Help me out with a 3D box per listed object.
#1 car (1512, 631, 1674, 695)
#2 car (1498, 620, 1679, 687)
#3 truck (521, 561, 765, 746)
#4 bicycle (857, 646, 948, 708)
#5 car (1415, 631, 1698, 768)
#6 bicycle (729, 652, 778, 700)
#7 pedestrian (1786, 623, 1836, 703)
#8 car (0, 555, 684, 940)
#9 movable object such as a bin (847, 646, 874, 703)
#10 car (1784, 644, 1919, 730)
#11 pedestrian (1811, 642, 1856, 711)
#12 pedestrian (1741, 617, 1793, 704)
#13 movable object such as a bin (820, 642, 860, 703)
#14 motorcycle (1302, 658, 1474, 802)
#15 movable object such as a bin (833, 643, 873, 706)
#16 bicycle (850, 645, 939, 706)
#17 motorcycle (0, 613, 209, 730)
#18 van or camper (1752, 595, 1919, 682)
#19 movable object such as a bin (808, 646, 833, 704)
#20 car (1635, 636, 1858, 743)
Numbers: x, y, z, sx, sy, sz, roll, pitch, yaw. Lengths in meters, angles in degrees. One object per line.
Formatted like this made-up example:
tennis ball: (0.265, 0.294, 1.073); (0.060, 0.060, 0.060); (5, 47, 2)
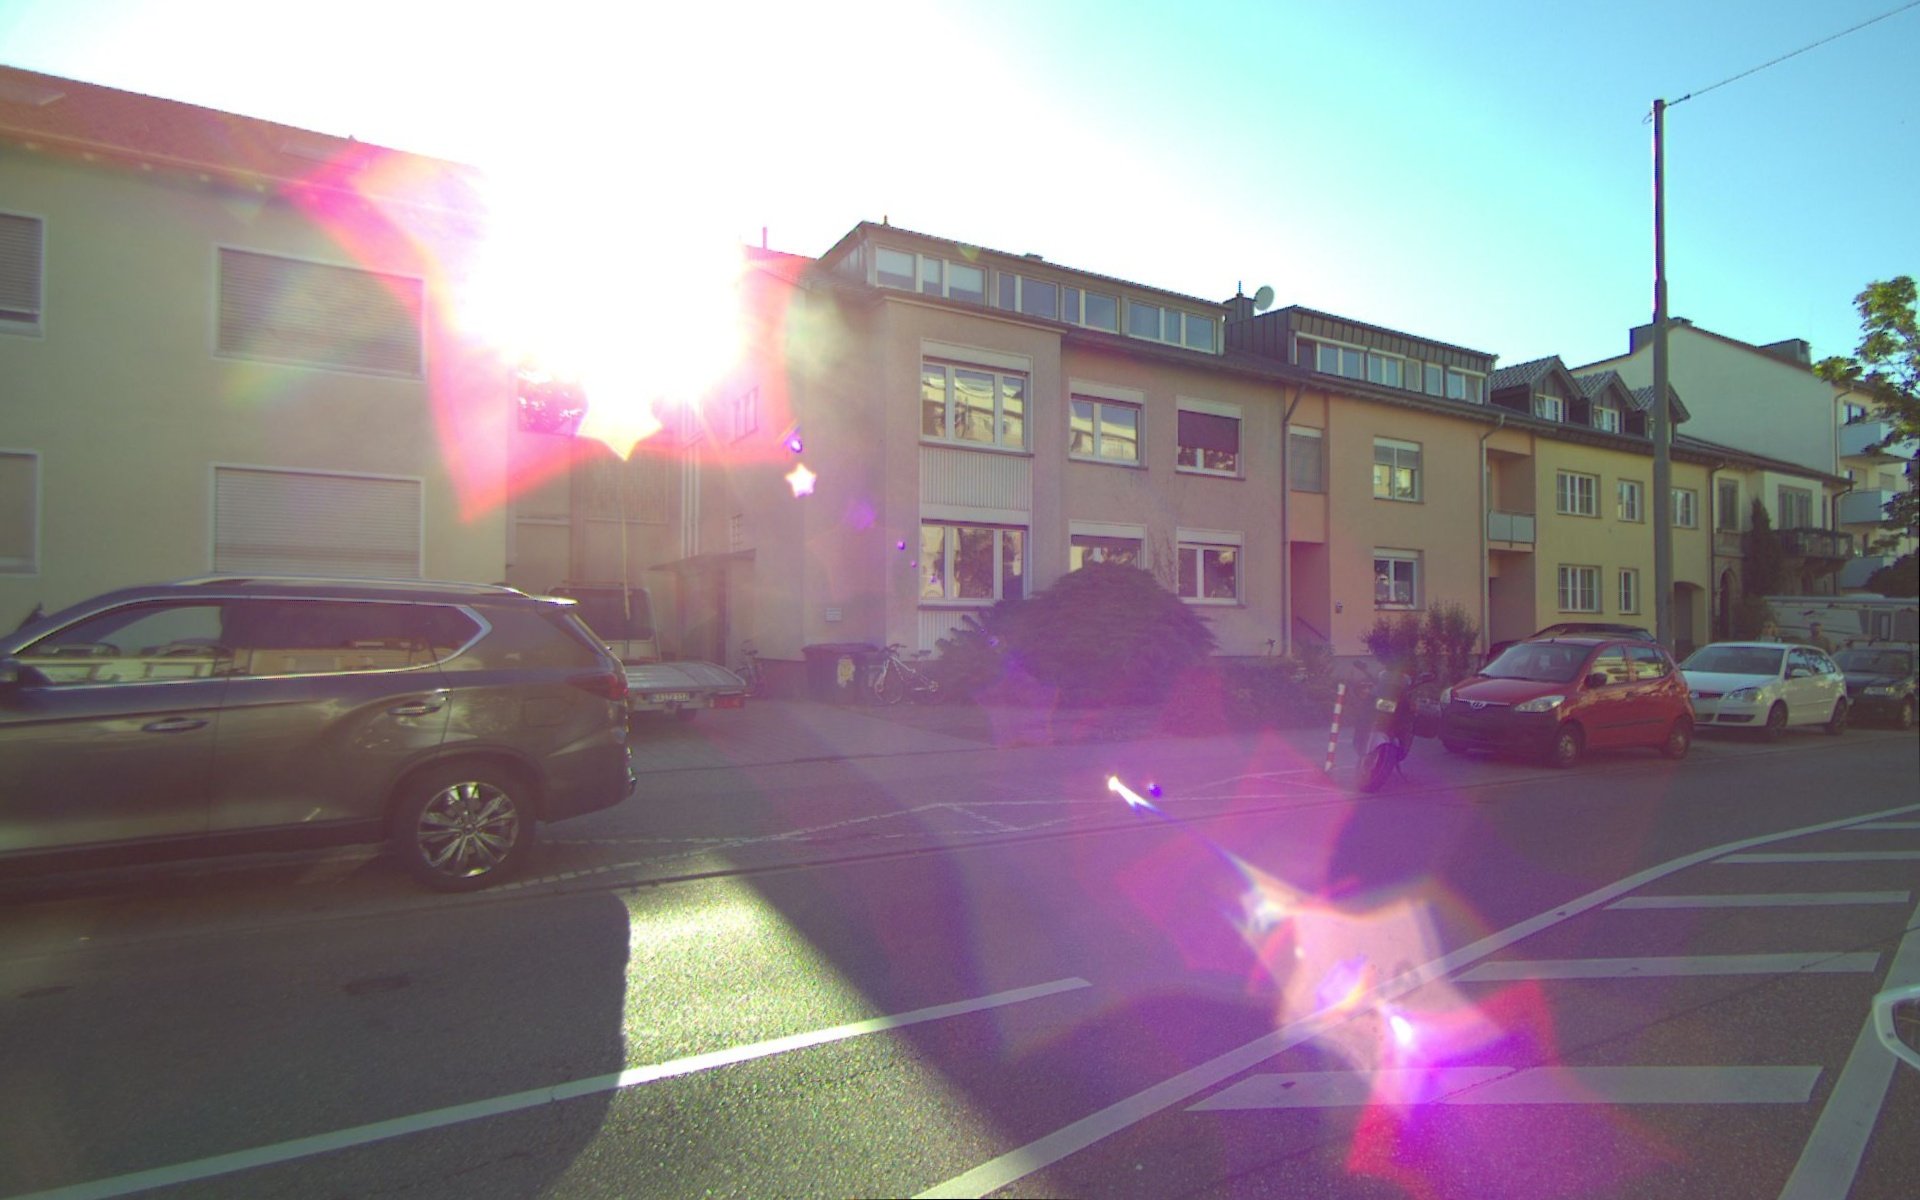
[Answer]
car: (15.030, 1.466, 23.846); (3.706, 1.427, 1.658); (1, -3, -29)
car: (17.848, 1.469, 28.710); (1.843, 1.657, 3.970); (1, 0, -28)
truck: (-5.221, 0.757, 15.630); (2.249, 2.214, 6.864); (1, -2, -29)
bicycle: (-1.037, 1.385, 18.309); (1.691, 1.100, 0.331); (1, -2, -31)
car: (7.646, 1.179, 12.858); (3.392, 1.543, 1.587); (1, -2, -28)
bicycle: (-4.231, 1.557, 20.549); (0.582, 0.942, 1.589); (1, -5, -27)
pedestrian: (19.810, 1.460, 23.380); (0.564, 1.816, 0.711); (1, -2, -27)
car: (-4.236, 0.735, 5.987); (4.673, 1.802, 1.877); (2, -2, -32)
movable object such as a bin: (-1.864, 1.391, 18.813); (0.345, 1.051, 0.433); (1, -2, -30)
car: (16.865, 1.526, 18.449); (3.623, 1.415, 1.536); (1, -2, -30)
pedestrian: (19.384, 1.684, 22.296); (0.535, 1.515, 0.588); (1, -2, -27)
pedestrian: (17.311, 1.286, 21.560); (0.499, 1.816, 0.711); (1, -2, -27)
movable object such as a bin: (-2.219, 1.325, 18.551); (0.579, 1.104, 0.486); (1, -2, -30)
motorcycle: (4.564, 1.279, 10.598); (1.164, 1.282, 2.362); (-1, -3, 36)
movable object such as a bin: (-1.917, 1.325, 17.983); (0.579, 1.104, 0.486); (1, -2, -30)
bicycle: (-1.201, 1.383, 18.629); (1.691, 1.100, 0.331); (1, -2, -31)
motorcycle: (-10.894, 0.882, 12.628); (2.232, 1.392, 0.568); (1, -2, -31)
van or camper: (31.803, 1.297, 34.555); (2.325, 2.810, 6.764); (1, 0, -30)
movable object such as a bin: (-2.594, 1.392, 18.661); (0.285, 1.051, 0.501); (1, -2, -30)
car: (12.724, 1.363, 16.204); (3.847, 1.543, 1.585); (2, -2, -31)
